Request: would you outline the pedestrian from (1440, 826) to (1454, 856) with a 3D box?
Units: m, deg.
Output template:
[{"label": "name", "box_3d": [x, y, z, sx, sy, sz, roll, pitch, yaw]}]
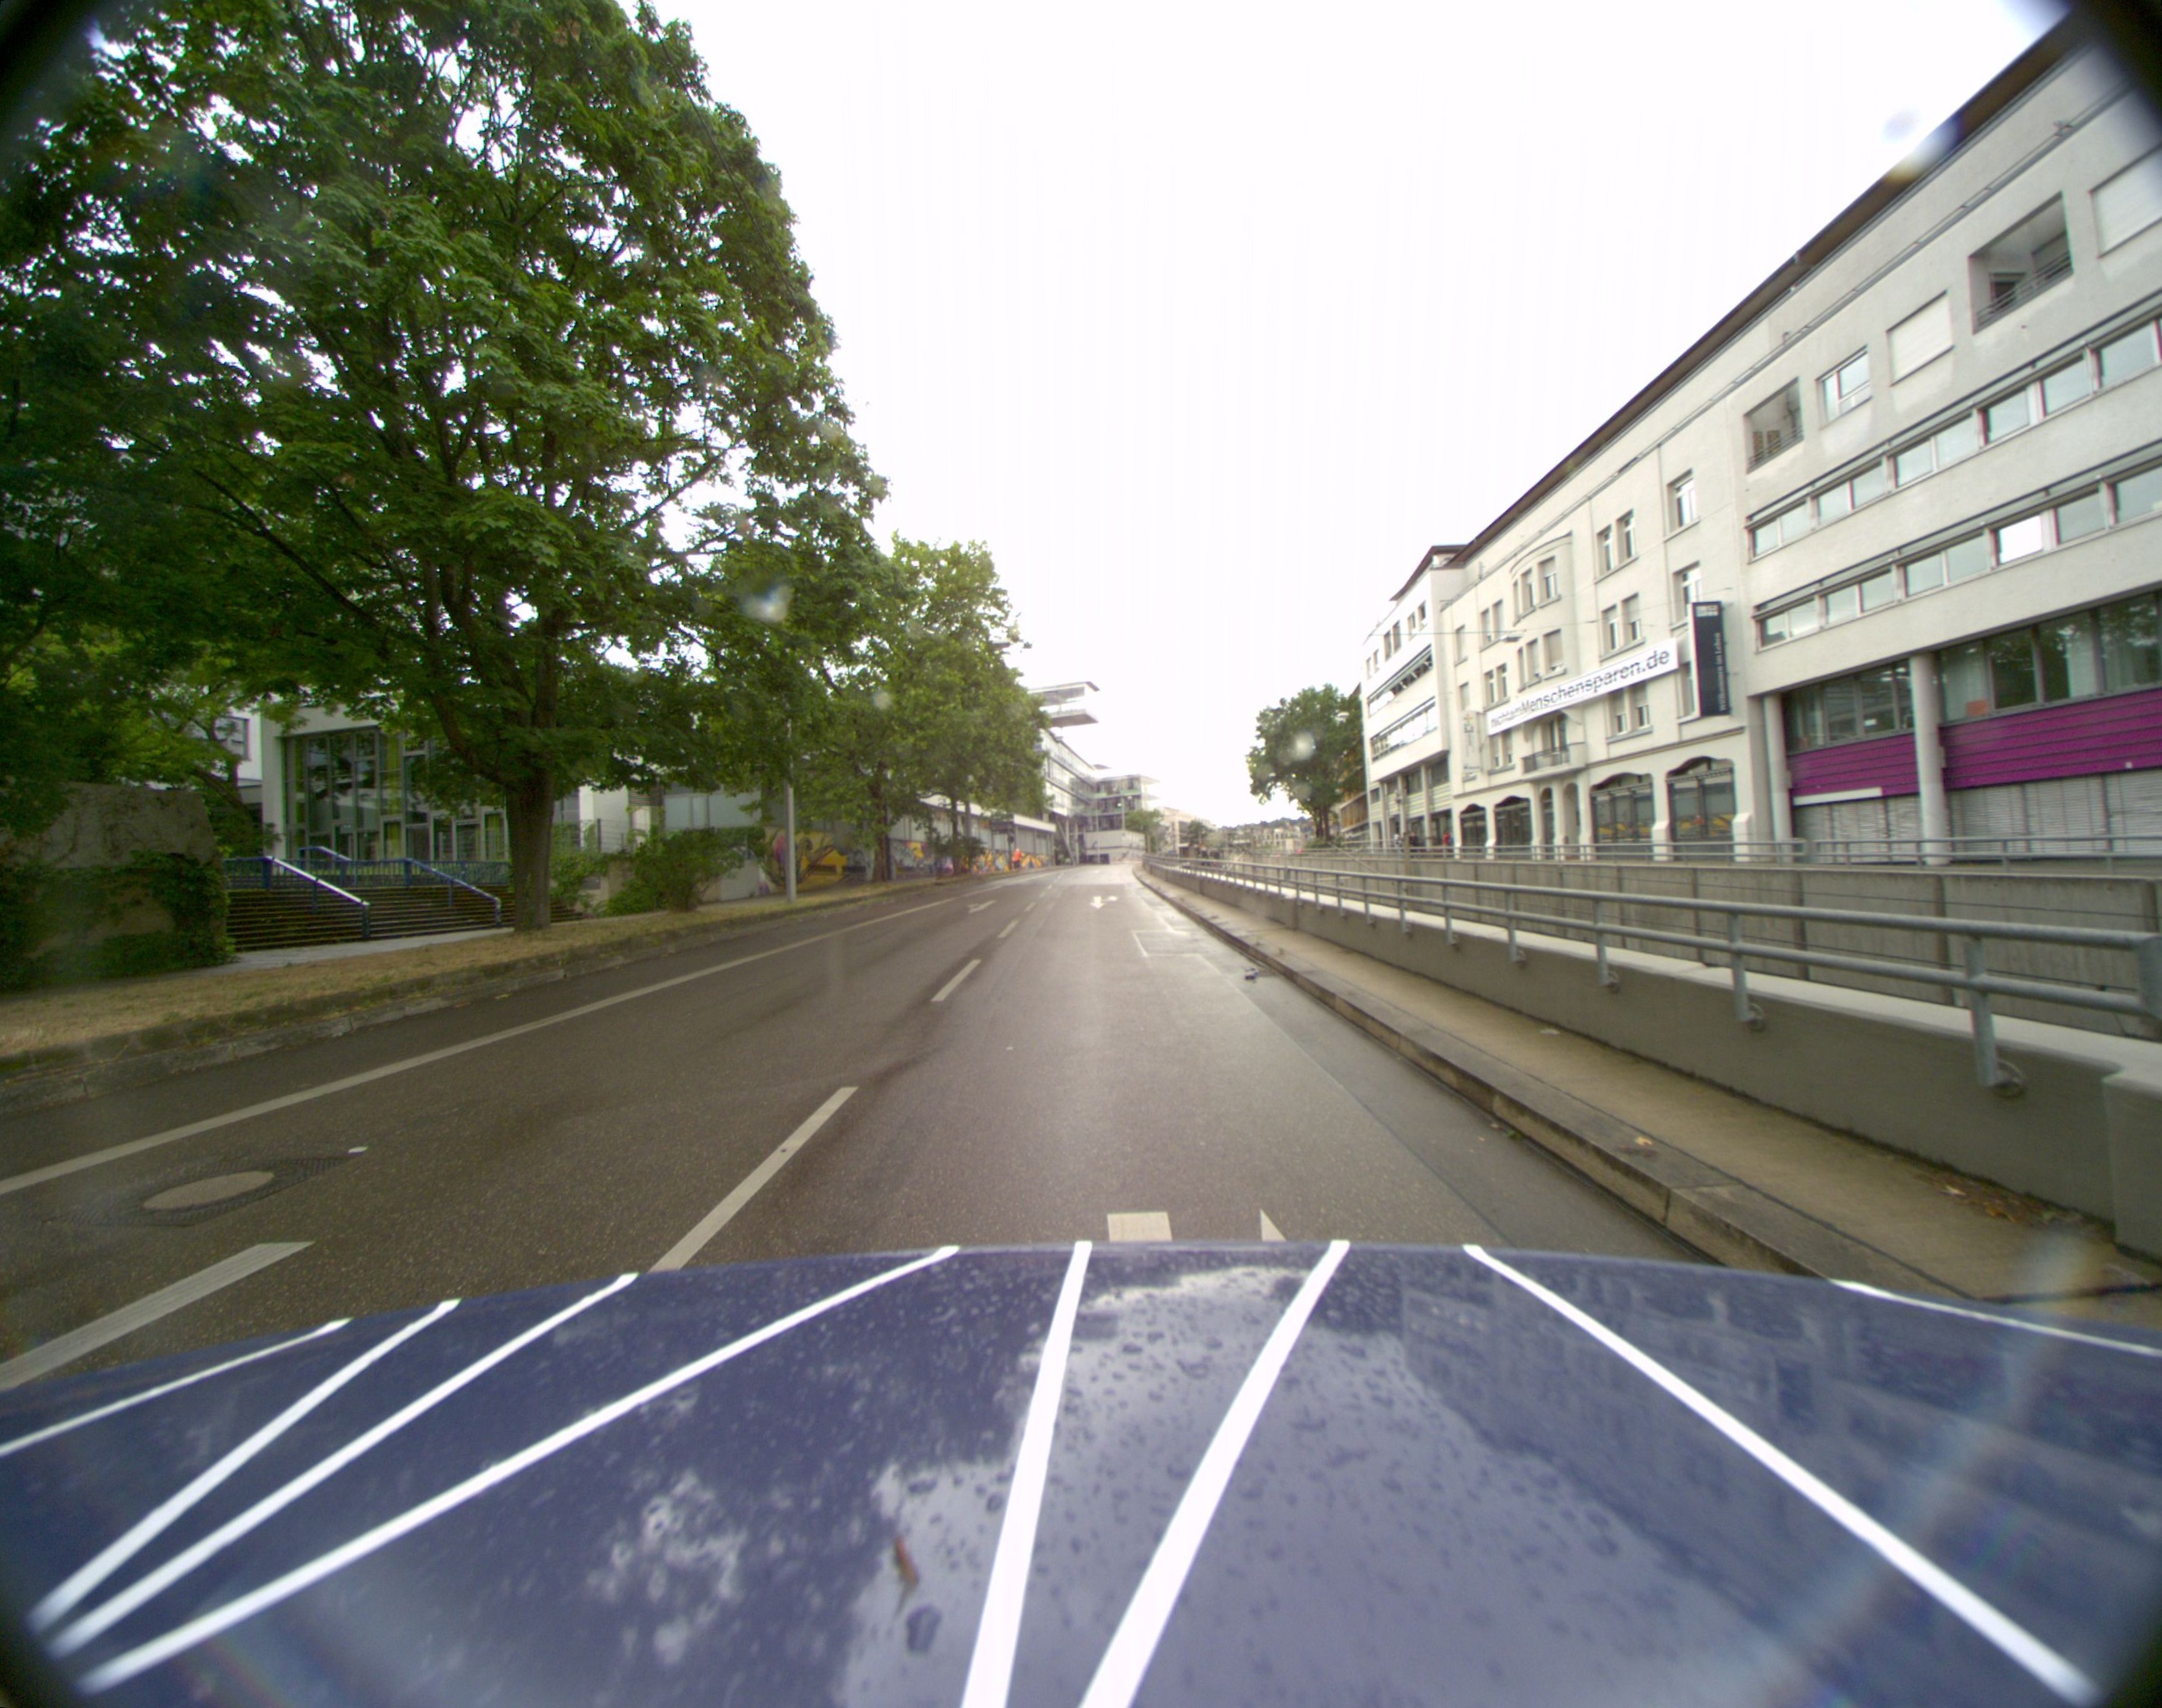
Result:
[{"label": "pedestrian", "box_3d": [22.821, -0.800, 47.363, 0.470, 1.792, 0.547, -4, 1, 0]}]

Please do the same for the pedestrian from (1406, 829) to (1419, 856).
[{"label": "pedestrian", "box_3d": [22.476, -0.781, 51.565, 0.547, 1.792, 0.470, -4, 1, -7]}]

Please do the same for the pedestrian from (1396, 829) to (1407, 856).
[{"label": "pedestrian", "box_3d": [21.713, -0.809, 51.417, 0.469, 1.792, 0.548, -4, 1, 8]}]

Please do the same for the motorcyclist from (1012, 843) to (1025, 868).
[{"label": "motorcyclist", "box_3d": [-5.115, 0.092, 62.021, 0.754, 2.002, 1.002, -4, 1, 9]}]

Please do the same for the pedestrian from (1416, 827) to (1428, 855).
[{"label": "pedestrian", "box_3d": [22.567, -0.856, 50.303, 0.470, 1.792, 0.547, -4, 1, 3]}]
